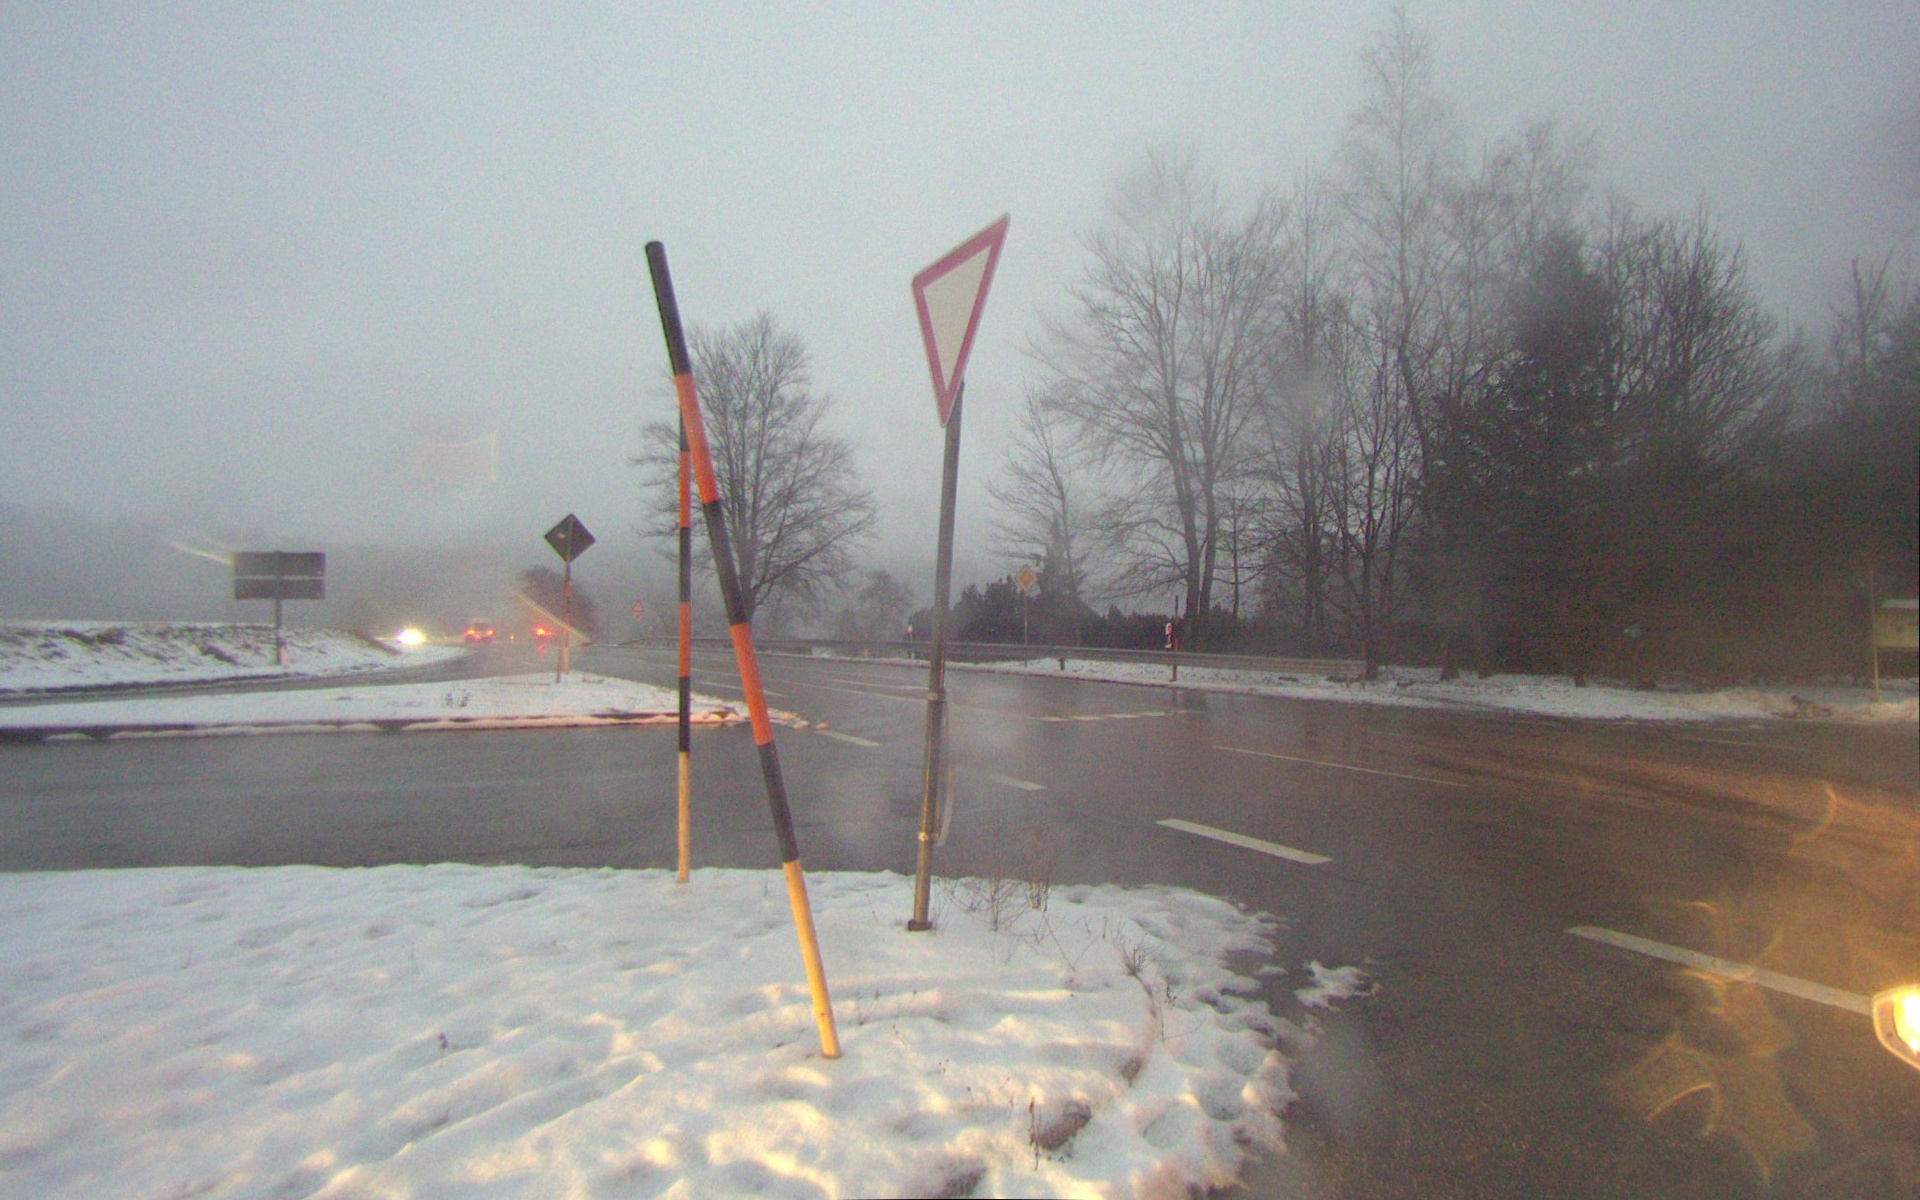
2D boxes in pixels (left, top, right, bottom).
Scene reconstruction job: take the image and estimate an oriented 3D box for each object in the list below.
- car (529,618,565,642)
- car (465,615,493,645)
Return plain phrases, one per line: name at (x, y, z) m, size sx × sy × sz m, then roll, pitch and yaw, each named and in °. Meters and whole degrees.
car at (-29.144, 2.097, 70.774) m, size 1.679 × 1.572 × 3.822 m, roll 3°, pitch -2°, yaw -32°
car at (-50.685, 3.145, 105.812) m, size 2.129 × 2.731 × 5.483 m, roll 3°, pitch 0°, yaw -31°
